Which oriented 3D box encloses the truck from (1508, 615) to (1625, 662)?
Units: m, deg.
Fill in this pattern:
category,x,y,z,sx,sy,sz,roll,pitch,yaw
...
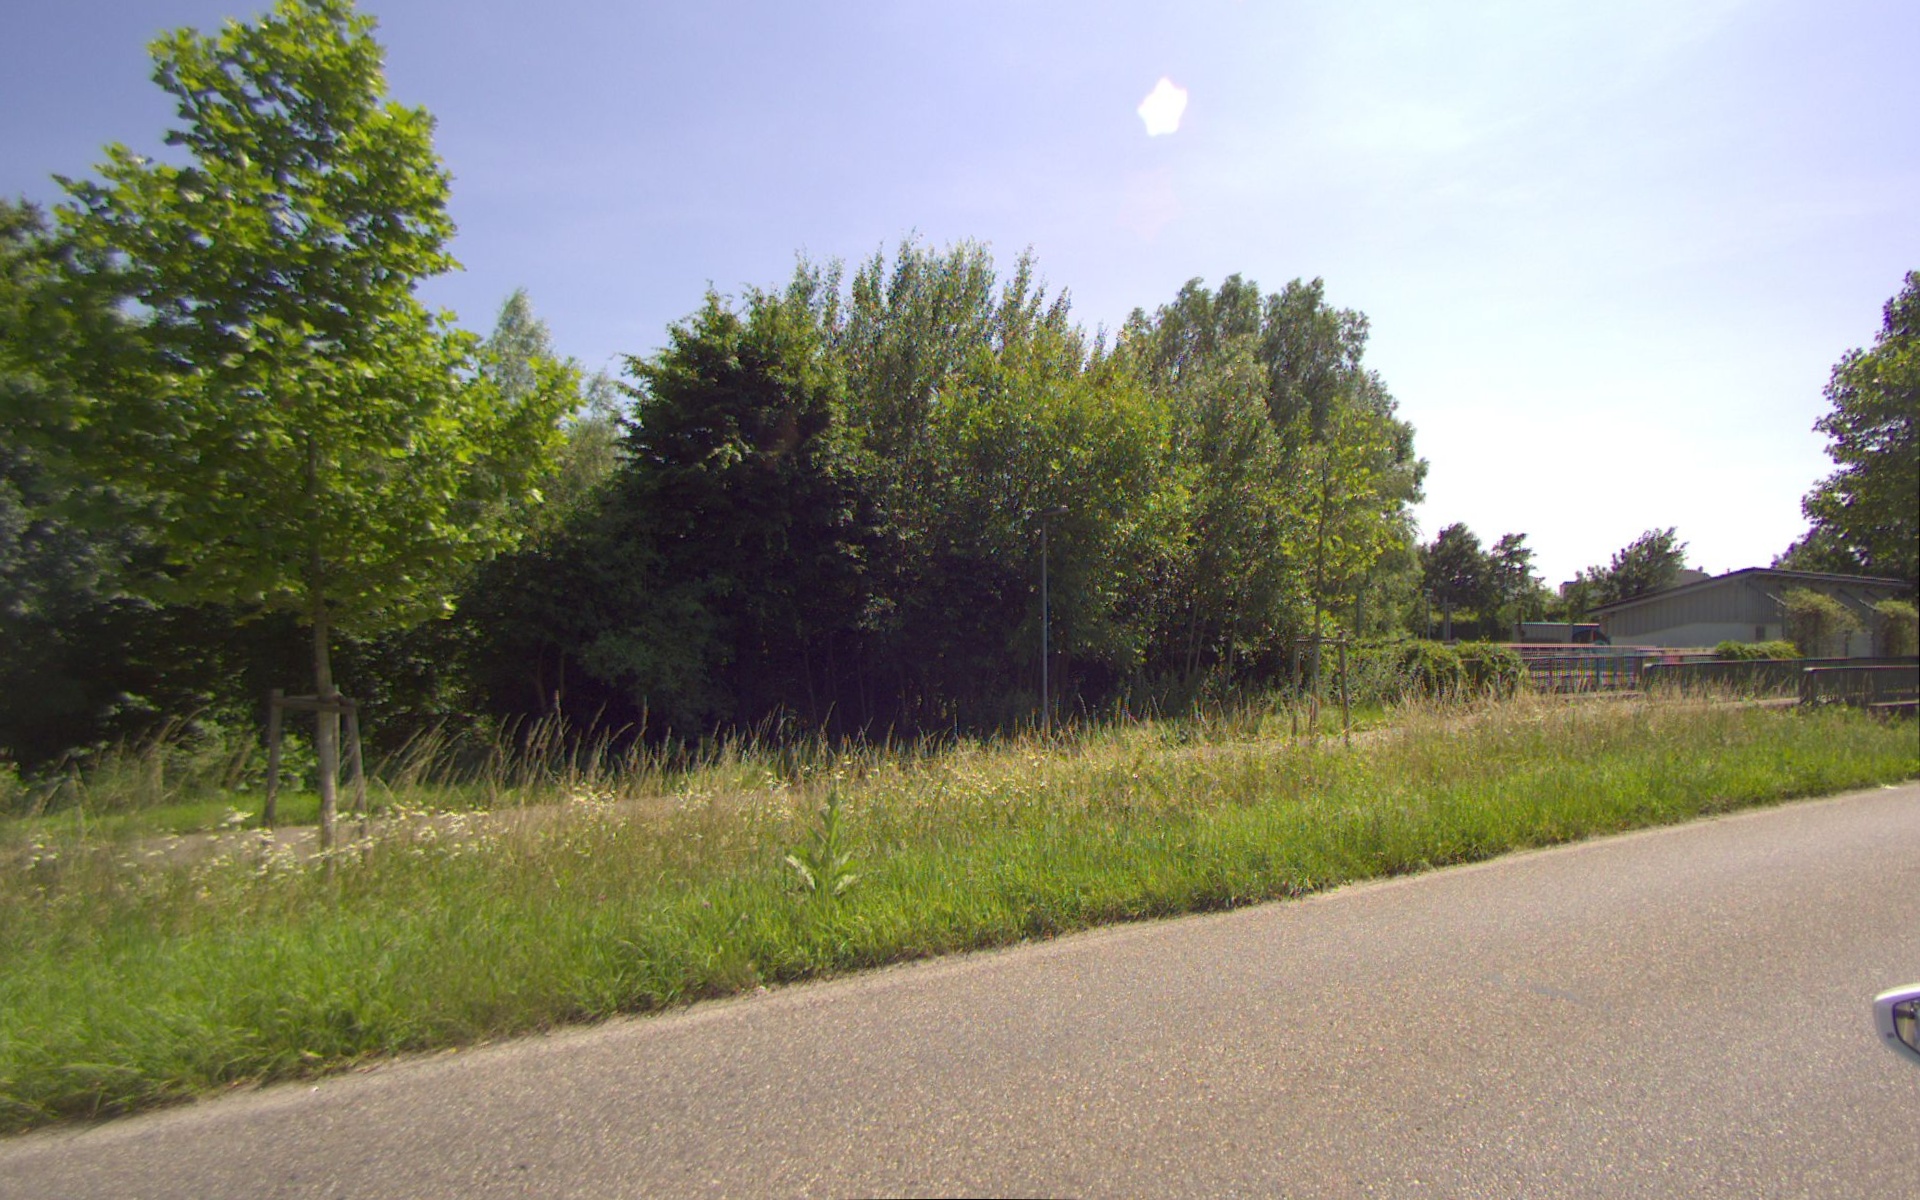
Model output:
category,x,y,z,sx,sy,sz,roll,pitch,yaw
truck,30.681,1.915,50.808,5.111,2.246,2.973,1,-1,-30
